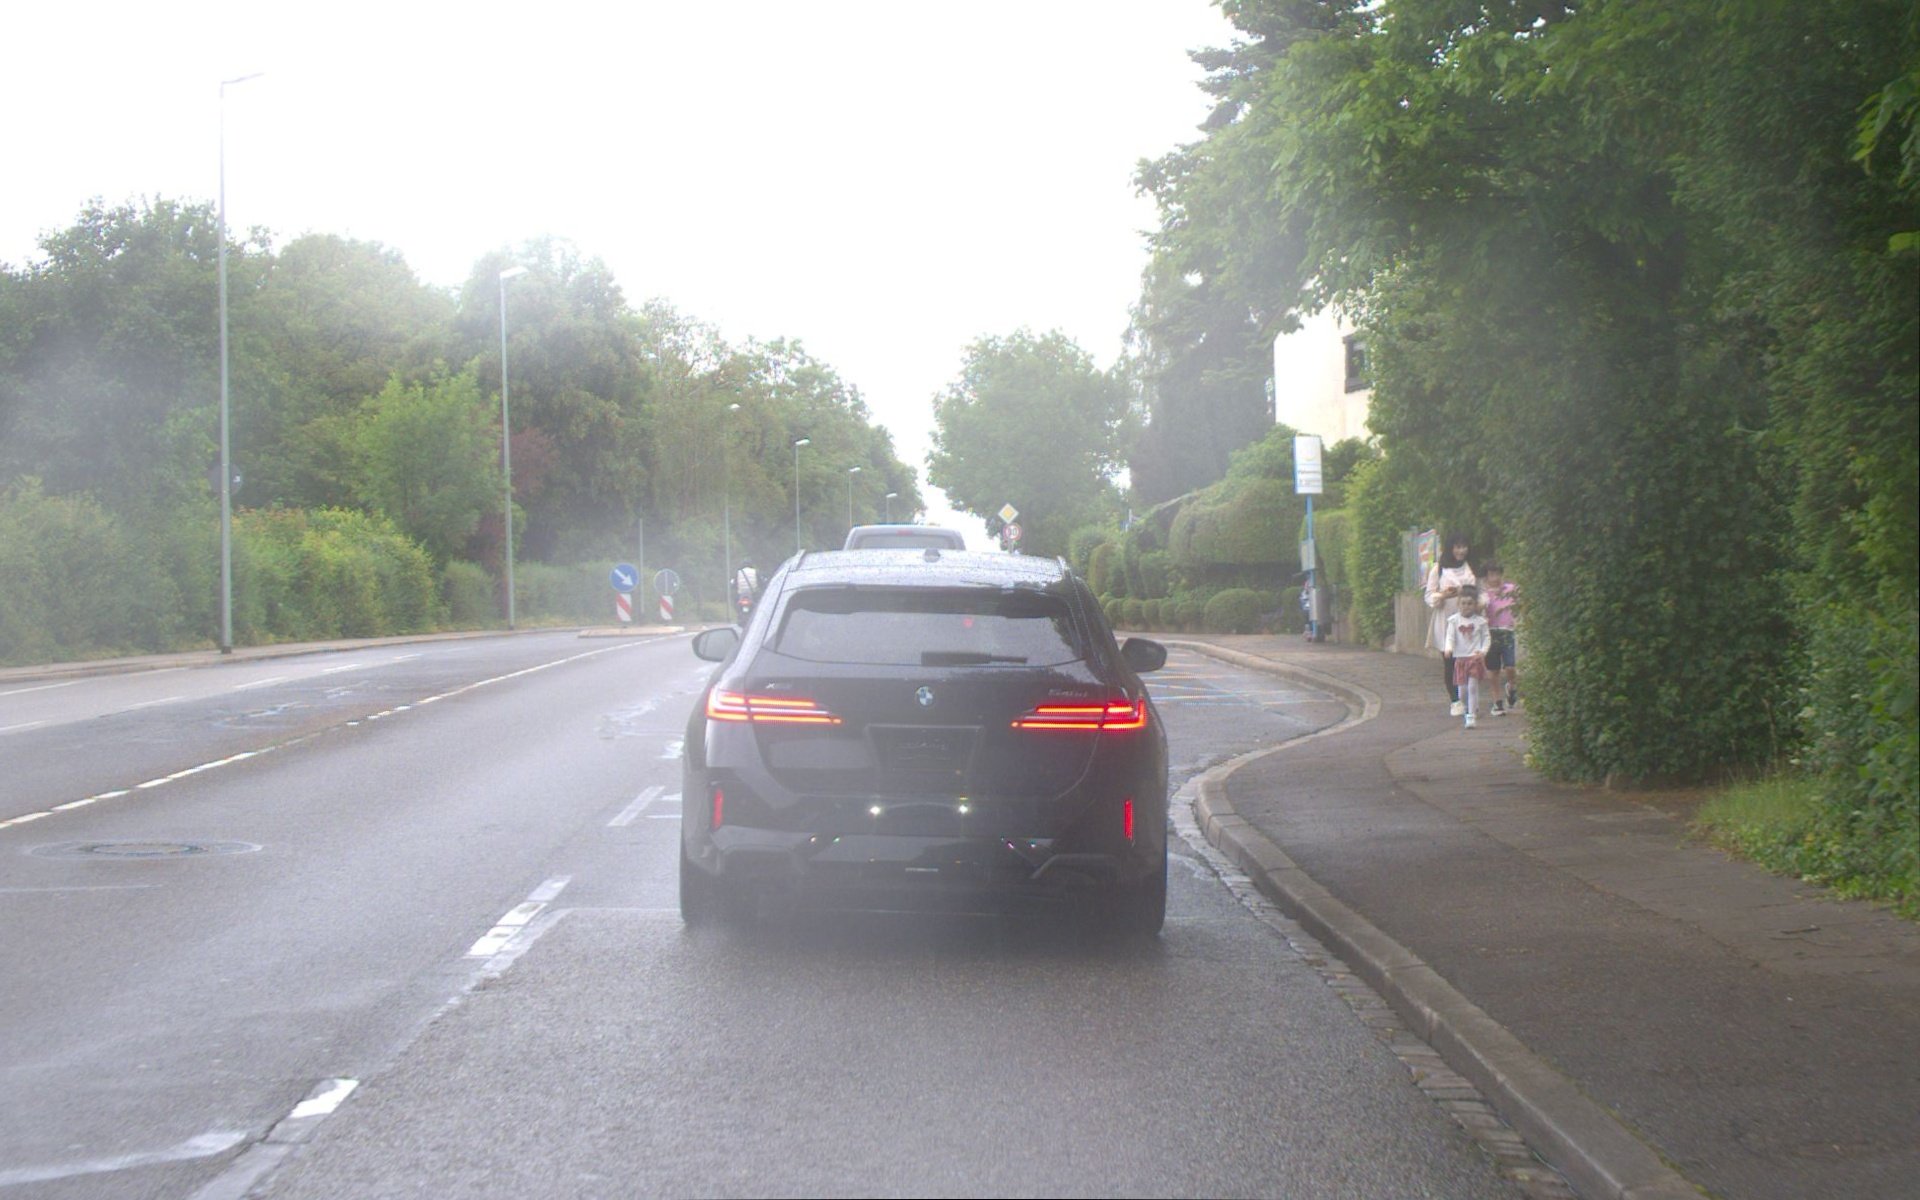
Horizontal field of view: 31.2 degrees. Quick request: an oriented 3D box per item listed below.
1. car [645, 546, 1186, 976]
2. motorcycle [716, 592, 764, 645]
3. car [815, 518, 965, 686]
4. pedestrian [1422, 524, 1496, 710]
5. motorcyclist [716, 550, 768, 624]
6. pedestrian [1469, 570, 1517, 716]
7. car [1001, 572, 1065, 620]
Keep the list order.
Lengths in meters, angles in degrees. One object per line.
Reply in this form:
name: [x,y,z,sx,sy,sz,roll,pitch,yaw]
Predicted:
car: [-0.145,0.559,14.288,1.897,1.484,4.000,2,0,0]
motorcycle: [-4.771,0.390,74.698,0.876,1.120,2.741,1,0,-1]
car: [-0.797,-0.011,40.094,1.629,1.827,4.000,-1,1,-1]
pedestrian: [4.307,0.142,29.707,0.610,1.588,0.646,0,1,8]
motorcyclist: [-4.739,-0.280,74.688,1.039,1.562,0.855,1,0,-1]
pedestrian: [4.241,0.339,27.366,0.367,1.142,0.366,0,1,8]
car: [2.309,-0.149,107.440,1.935,1.437,4.408,-1,0,2]
